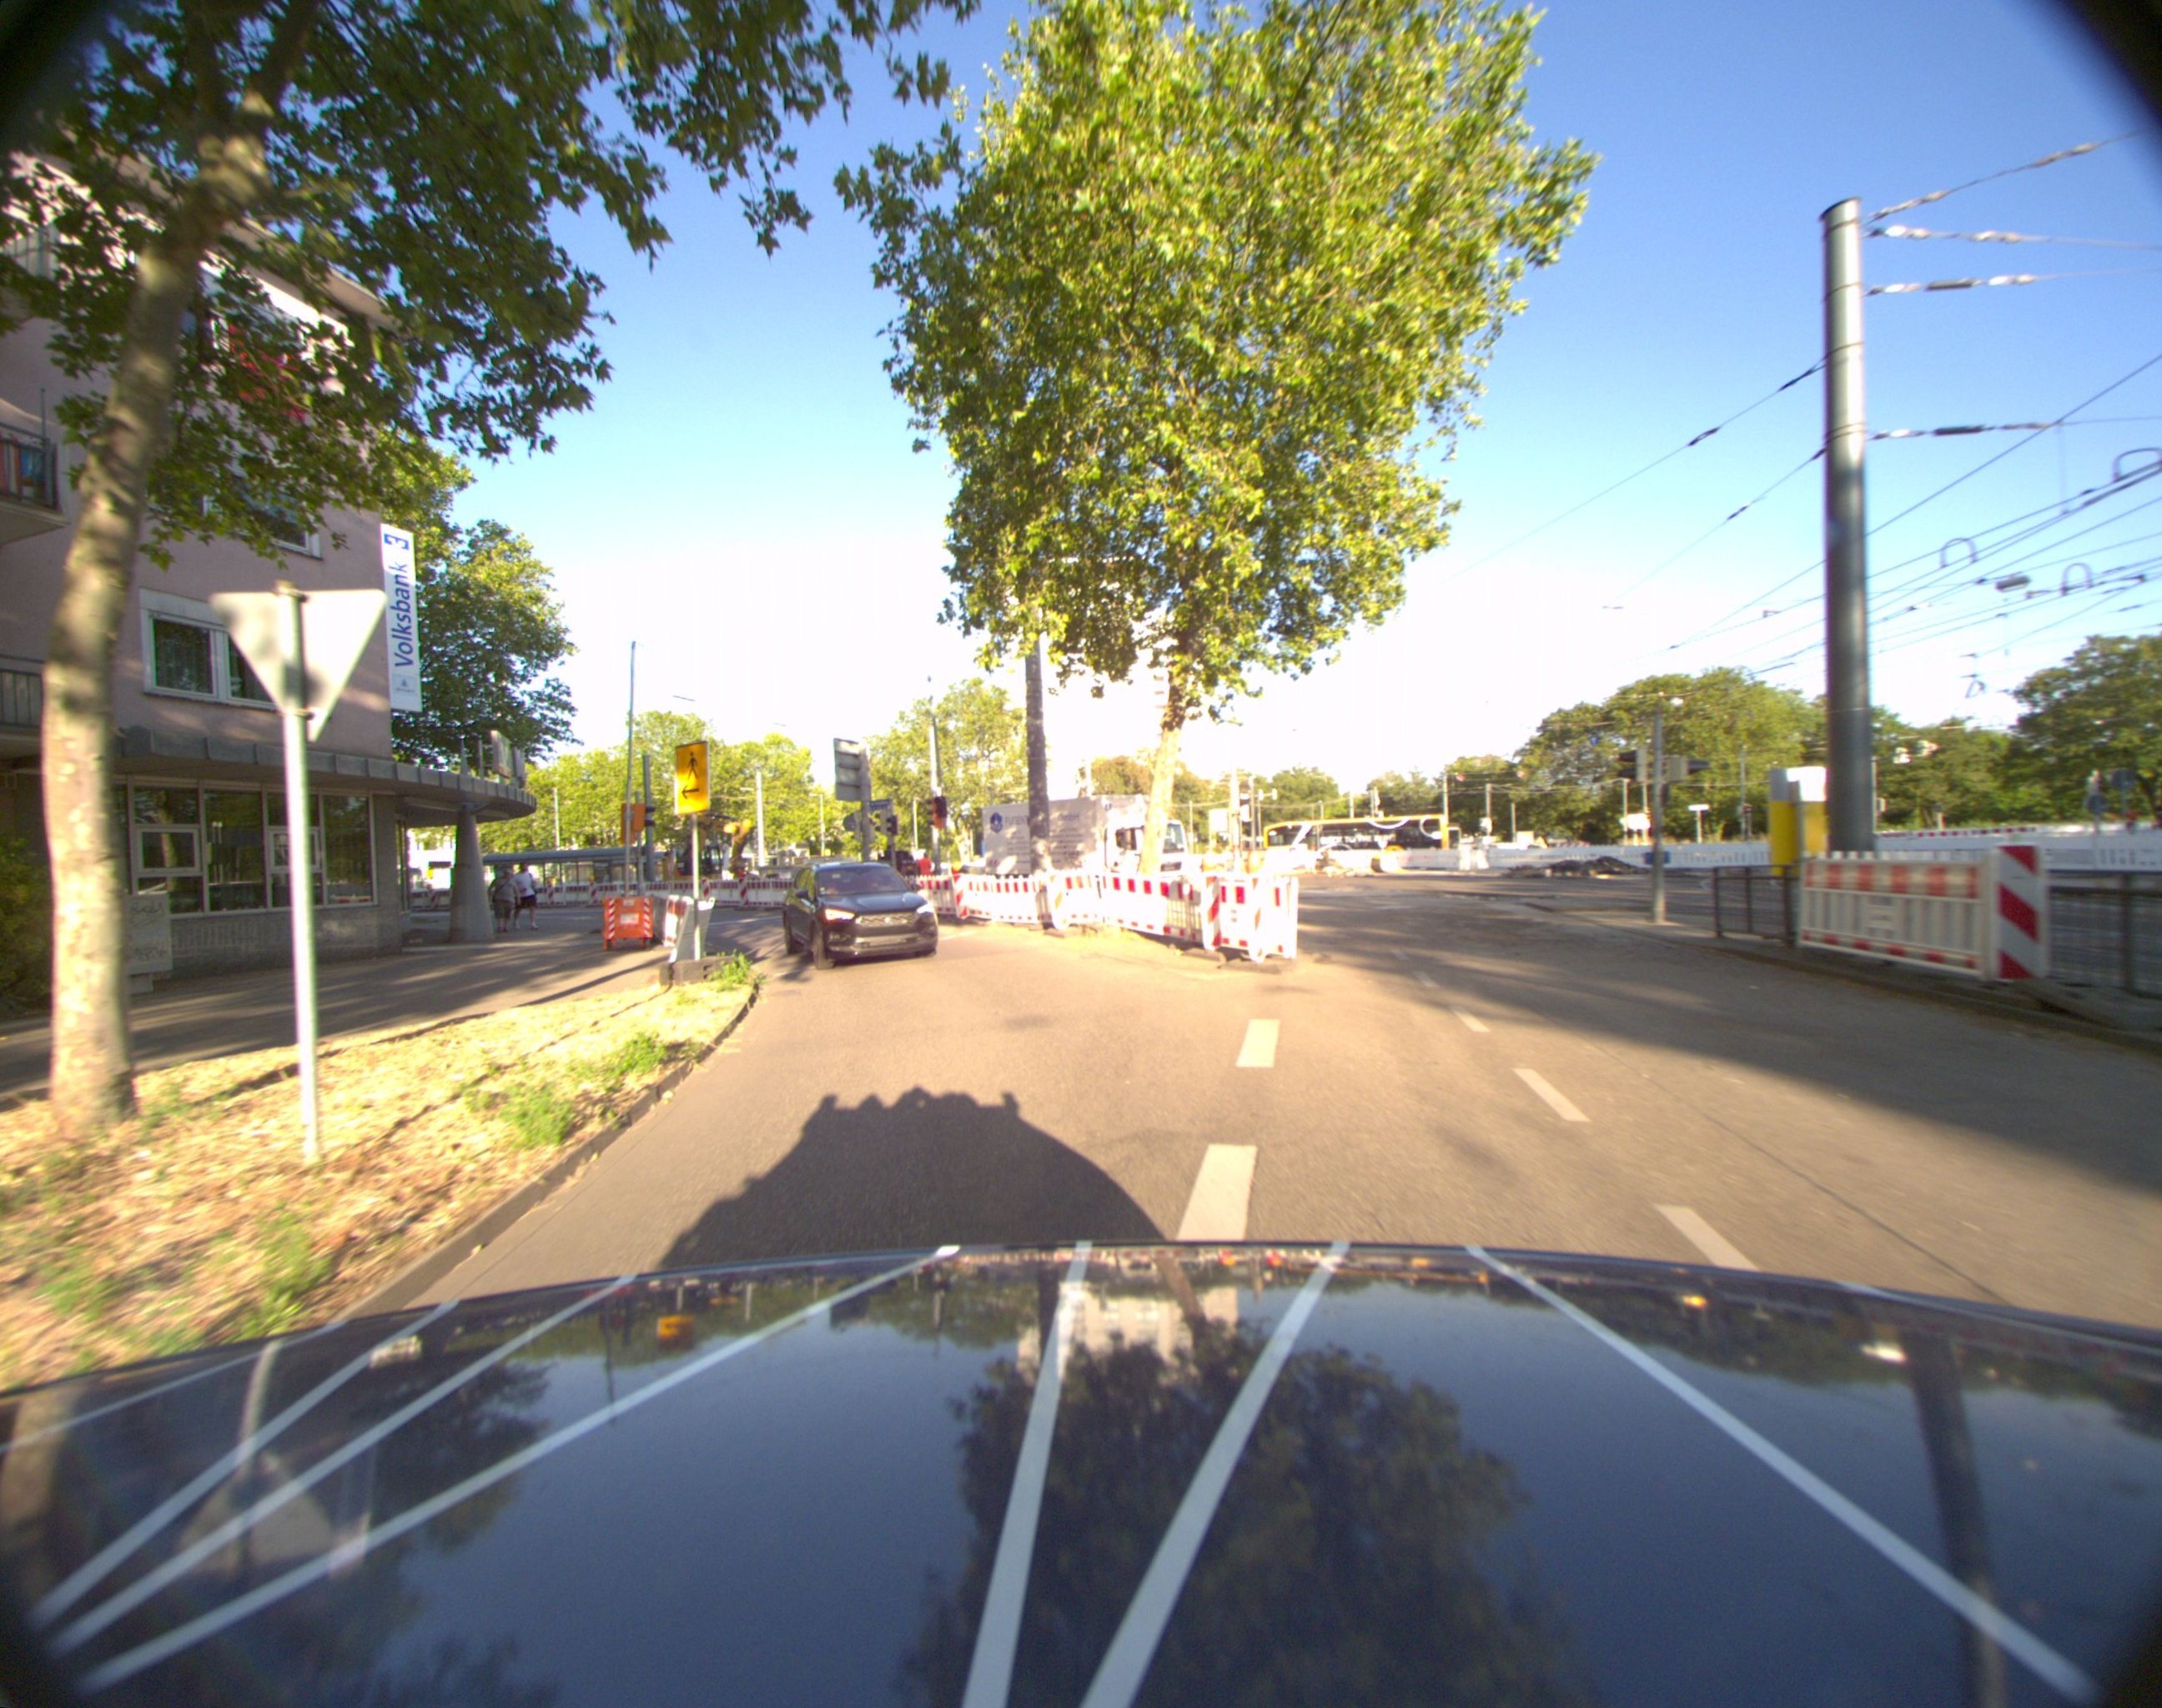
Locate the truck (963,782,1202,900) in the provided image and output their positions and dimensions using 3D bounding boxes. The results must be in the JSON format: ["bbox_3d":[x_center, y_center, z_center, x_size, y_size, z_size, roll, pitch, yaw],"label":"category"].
[{"bbox_3d":[-0.291,-0.320,26.858,2.826,3.521,8.959,-3,1,-44],"label":"truck"}]

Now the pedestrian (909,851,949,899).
[{"bbox_3d":[-5.884,0.794,29.377,1.067,1.788,0.977,-2,1,37],"label":"pedestrian"}]

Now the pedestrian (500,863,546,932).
[{"bbox_3d":[-15.505,1.194,21.148,0.842,1.858,1.097,2,-2,-28],"label":"pedestrian"}]

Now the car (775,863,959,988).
[{"bbox_3d":[-3.835,1.033,13.035,2.003,1.638,4.194,-4,1,-29],"label":"car"}]

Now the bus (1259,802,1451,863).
[{"bbox_3d":[18.917,-1.435,53.387,12.278,3.701,3.091,-2,1,16],"label":"bus"}]

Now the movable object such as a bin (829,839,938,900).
[{"bbox_3d":[-8.315,0.658,31.633,2.003,2.244,5.194,-5,2,-43],"label":"movable object such as a bin"}]

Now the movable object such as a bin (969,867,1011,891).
[{"bbox_3d":[-3.774,1.047,31.608,1.416,0.911,0.937,-2,1,22],"label":"movable object such as a bin"}]

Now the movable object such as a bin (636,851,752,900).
[{"bbox_3d":[-20.696,1.109,40.779,4.893,2.304,2.654,-3,1,14],"label":"movable object such as a bin"}]

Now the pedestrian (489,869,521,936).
[{"bbox_3d":[-15.083,1.254,19.889,0.586,1.698,0.677,0,-2,-44],"label":"pedestrian"}]
